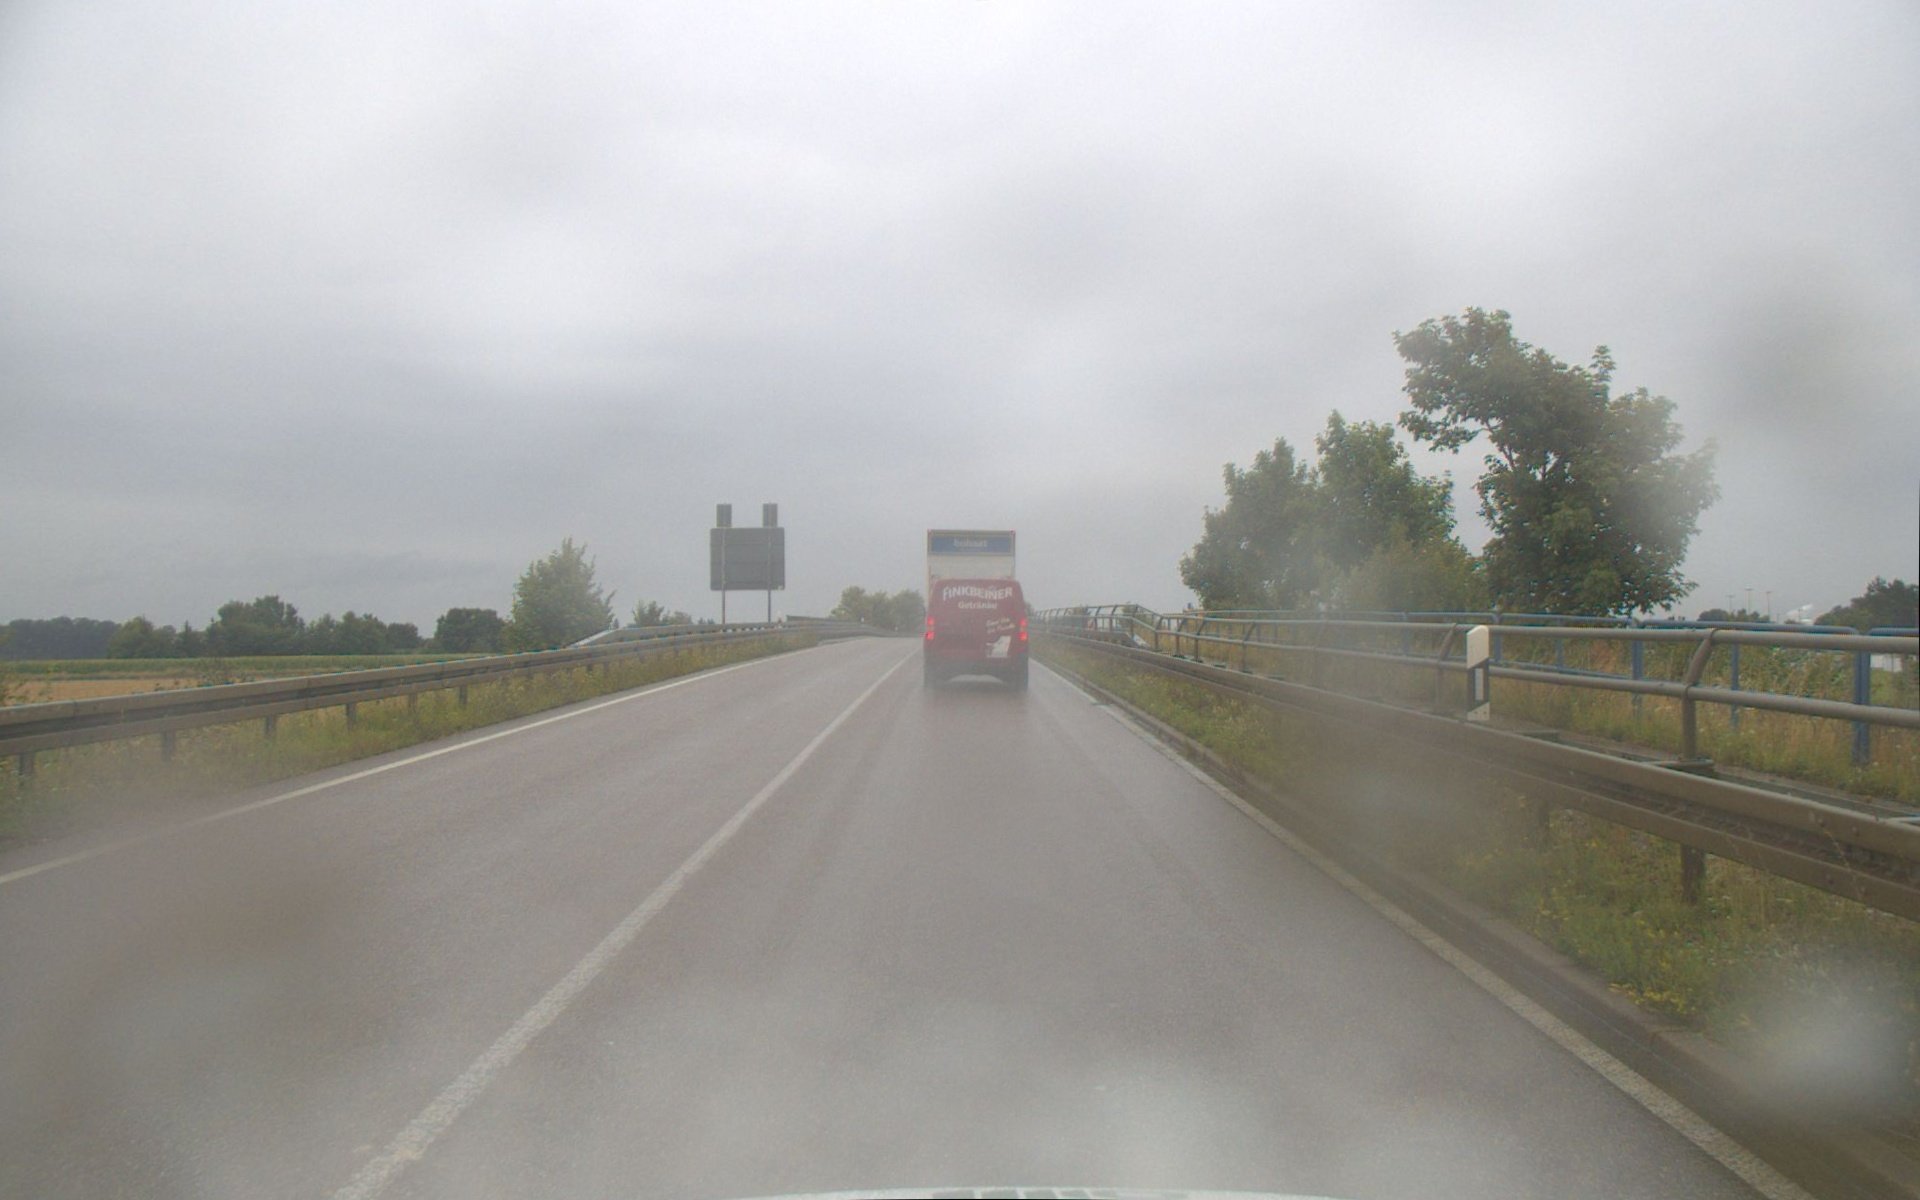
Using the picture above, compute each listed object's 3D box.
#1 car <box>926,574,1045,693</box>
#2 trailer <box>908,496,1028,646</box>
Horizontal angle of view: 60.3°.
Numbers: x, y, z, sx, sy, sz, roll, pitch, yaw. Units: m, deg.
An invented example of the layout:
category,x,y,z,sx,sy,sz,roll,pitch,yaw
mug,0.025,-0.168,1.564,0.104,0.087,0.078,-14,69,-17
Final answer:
category,x,y,z,sx,sy,sz,roll,pitch,yaw
car,0.402,0.563,29.797,1.953,1.959,4.142,1,0,-1
trailer,0.345,-0.695,50.207,3.135,3.990,8.740,3,-1,2
